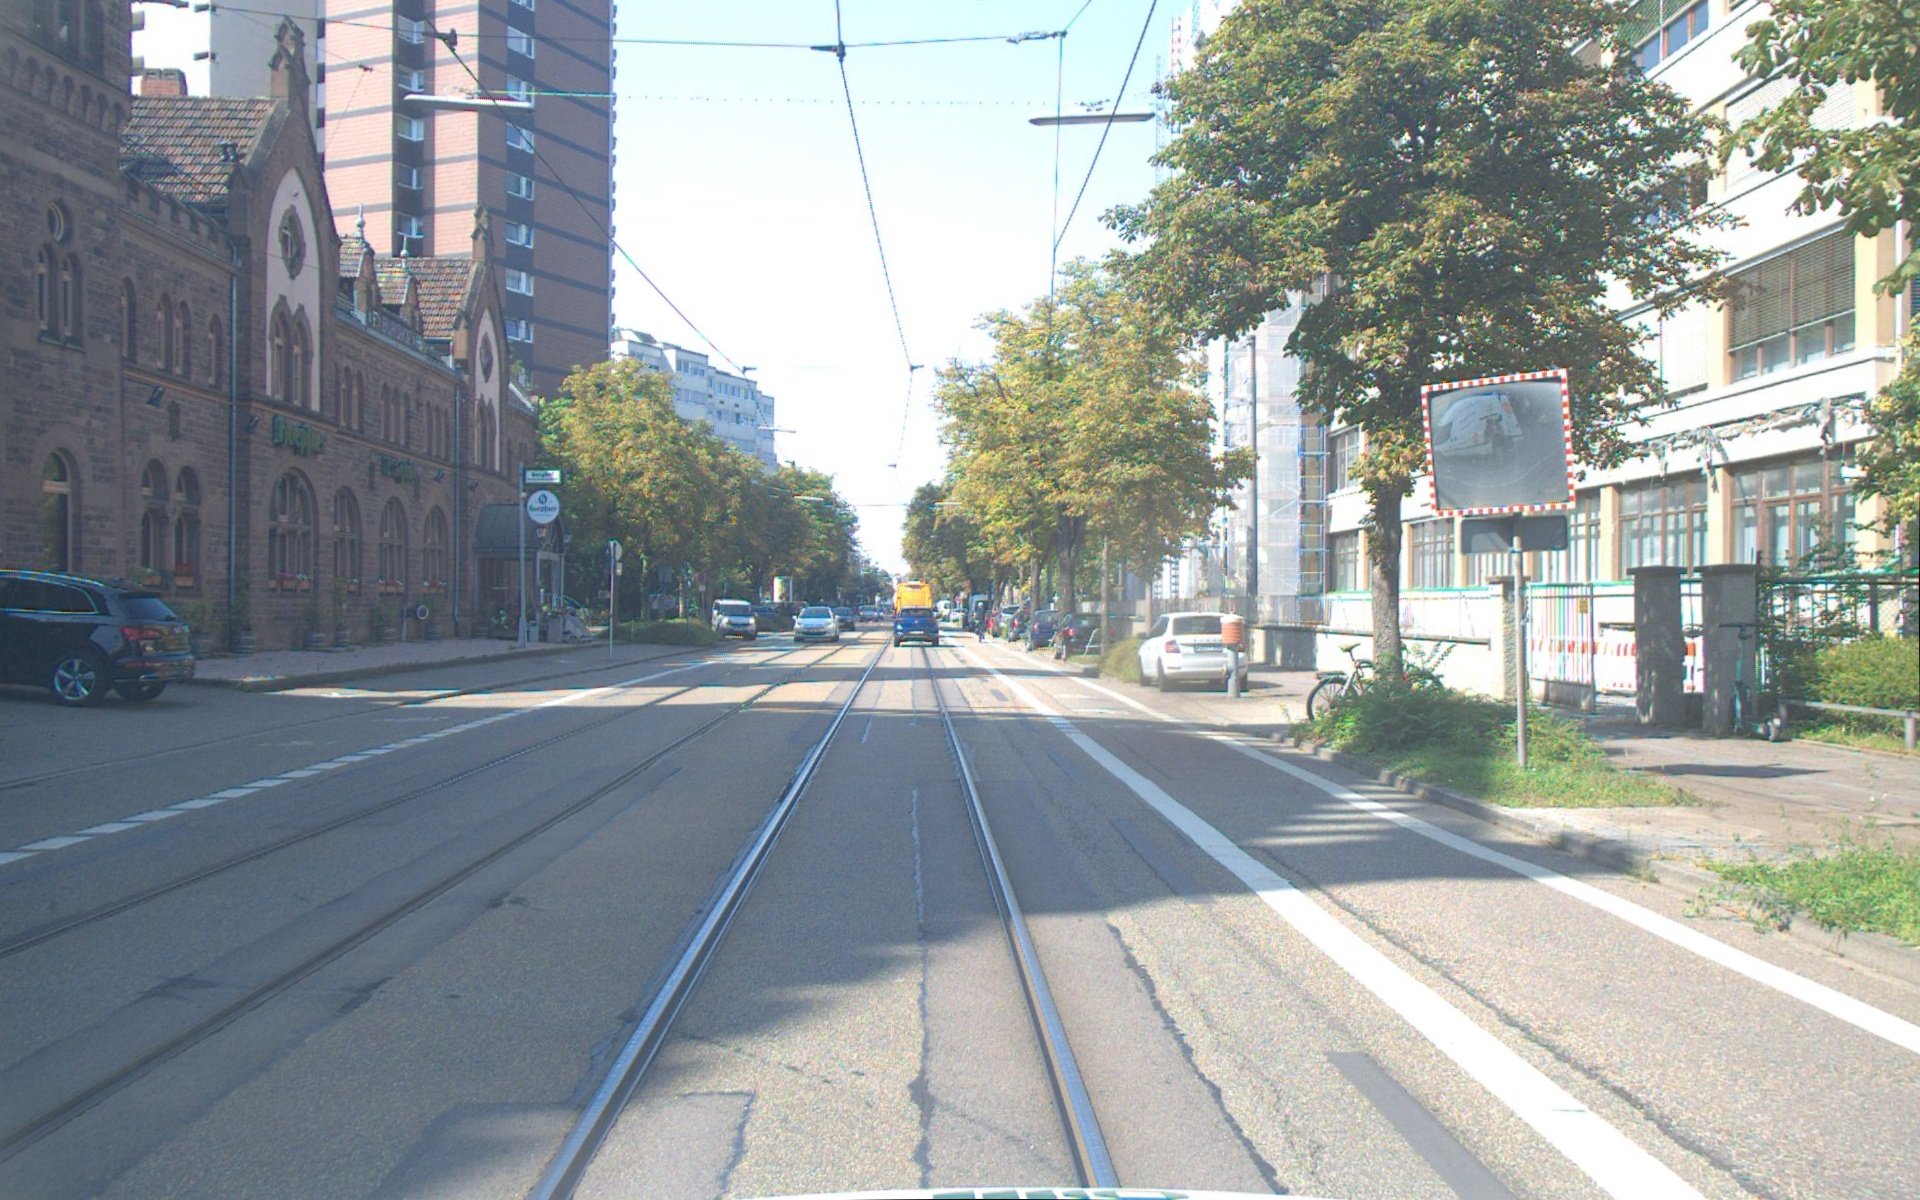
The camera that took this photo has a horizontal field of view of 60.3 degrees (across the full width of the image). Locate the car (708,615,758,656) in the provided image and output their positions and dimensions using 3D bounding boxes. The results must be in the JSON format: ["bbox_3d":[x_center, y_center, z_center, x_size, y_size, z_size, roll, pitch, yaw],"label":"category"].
[{"bbox_3d":[-10.854,1.673,78.856,1.719,1.828,3.981,1,0,-17],"label":"car"}]

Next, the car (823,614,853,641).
[{"bbox_3d":[-7.621,1.711,103.498,1.647,1.599,4.205,1,0,-1],"label":"car"}]

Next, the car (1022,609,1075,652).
[{"bbox_3d":[3.313,1.125,62.493,1.707,1.583,4.215,0,0,-1],"label":"car"}]

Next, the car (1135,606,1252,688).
[{"bbox_3d":[4.522,0.885,32.596,1.625,1.507,4.215,0,0,-1],"label":"car"}]

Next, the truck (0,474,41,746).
[{"bbox_3d":[-12.203,-0.082,15.283,6.189,2.582,2.132,4,1,3],"label":"truck"}]

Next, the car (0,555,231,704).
[{"bbox_3d":[-12.338,0.327,22.255,4.052,1.774,2.000,4,0,-1],"label":"car"}]

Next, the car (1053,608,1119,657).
[{"bbox_3d":[3.831,0.972,50.959,1.625,1.432,4.215,0,0,-1],"label":"car"}]

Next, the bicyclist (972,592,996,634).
[{"bbox_3d":[1.094,0.591,74.905,1.011,1.844,1.016,1,0,-2],"label":"bicyclist"}]

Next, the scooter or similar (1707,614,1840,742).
[{"bbox_3d":[8.648,0.798,17.658,0.544,1.281,1.818,1,0,1],"label":"scooter or similar"}]

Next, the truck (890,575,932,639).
[{"bbox_3d":[-2.506,0.363,84.932,2.092,3.179,6.082,0,0,-2],"label":"truck"}]

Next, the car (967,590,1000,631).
[{"bbox_3d":[1.640,0.732,116.758,1.954,2.804,5.758,1,0,-3],"label":"car"}]

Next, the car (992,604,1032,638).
[{"bbox_3d":[2.678,1.070,85.670,1.705,1.697,4.359,1,0,-3],"label":"car"}]

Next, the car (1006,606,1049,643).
[{"bbox_3d":[3.054,1.085,75.586,1.601,1.612,4.186,1,0,-3],"label":"car"}]

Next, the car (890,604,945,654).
[{"bbox_3d":[-1.701,1.110,66.081,2.092,1.891,5.566,0,0,-2],"label":"car"}]

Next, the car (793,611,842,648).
[{"bbox_3d":[-6.182,1.253,72.170,1.809,1.518,4.866,0,0,-1],"label":"car"}]

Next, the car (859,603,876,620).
[{"bbox_3d":[-9.655,1.237,172.576,1.744,1.713,4.345,1,0,-3],"label":"car"}]

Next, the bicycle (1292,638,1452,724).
[{"bbox_3d":[4.935,0.965,19.848,1.775,0.975,0.558,1,0,-2],"label":"bicycle"}]

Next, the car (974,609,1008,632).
[{"bbox_3d":[1.950,1.309,106.169,1.870,1.457,4.290,1,0,-3],"label":"car"}]

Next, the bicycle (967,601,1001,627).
[{"bbox_3d":[1.056,0.622,74.931,1.373,1.154,3.998,0,0,-2],"label":"bicycle"}]
